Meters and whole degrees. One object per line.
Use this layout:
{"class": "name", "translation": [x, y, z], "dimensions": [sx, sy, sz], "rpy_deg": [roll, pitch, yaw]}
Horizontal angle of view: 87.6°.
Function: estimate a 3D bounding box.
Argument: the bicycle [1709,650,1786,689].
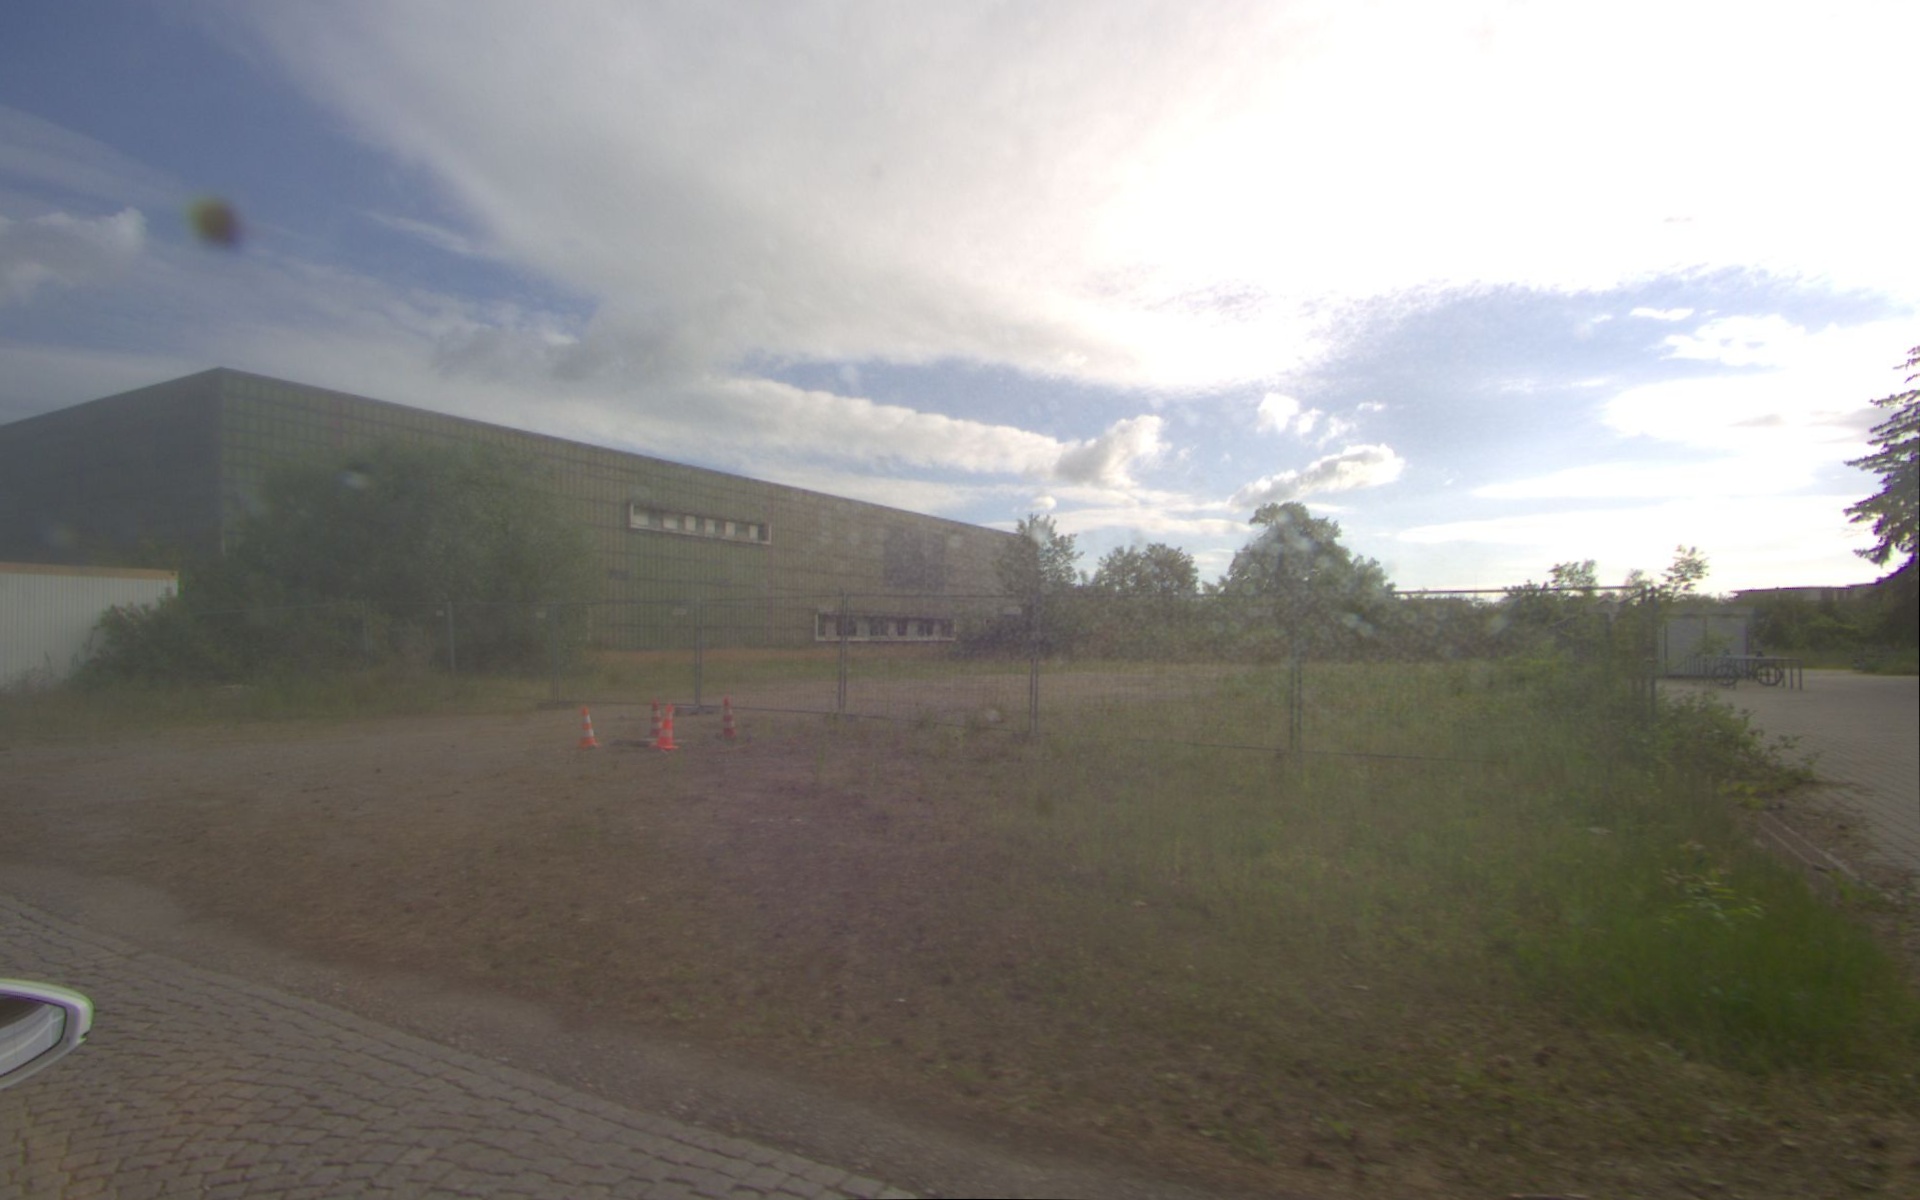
{"class": "bicycle", "translation": [23.508, 2.078, 29.937], "dimensions": [1.738, 1.112, 0.520], "rpy_deg": [-1, -3, 31]}
